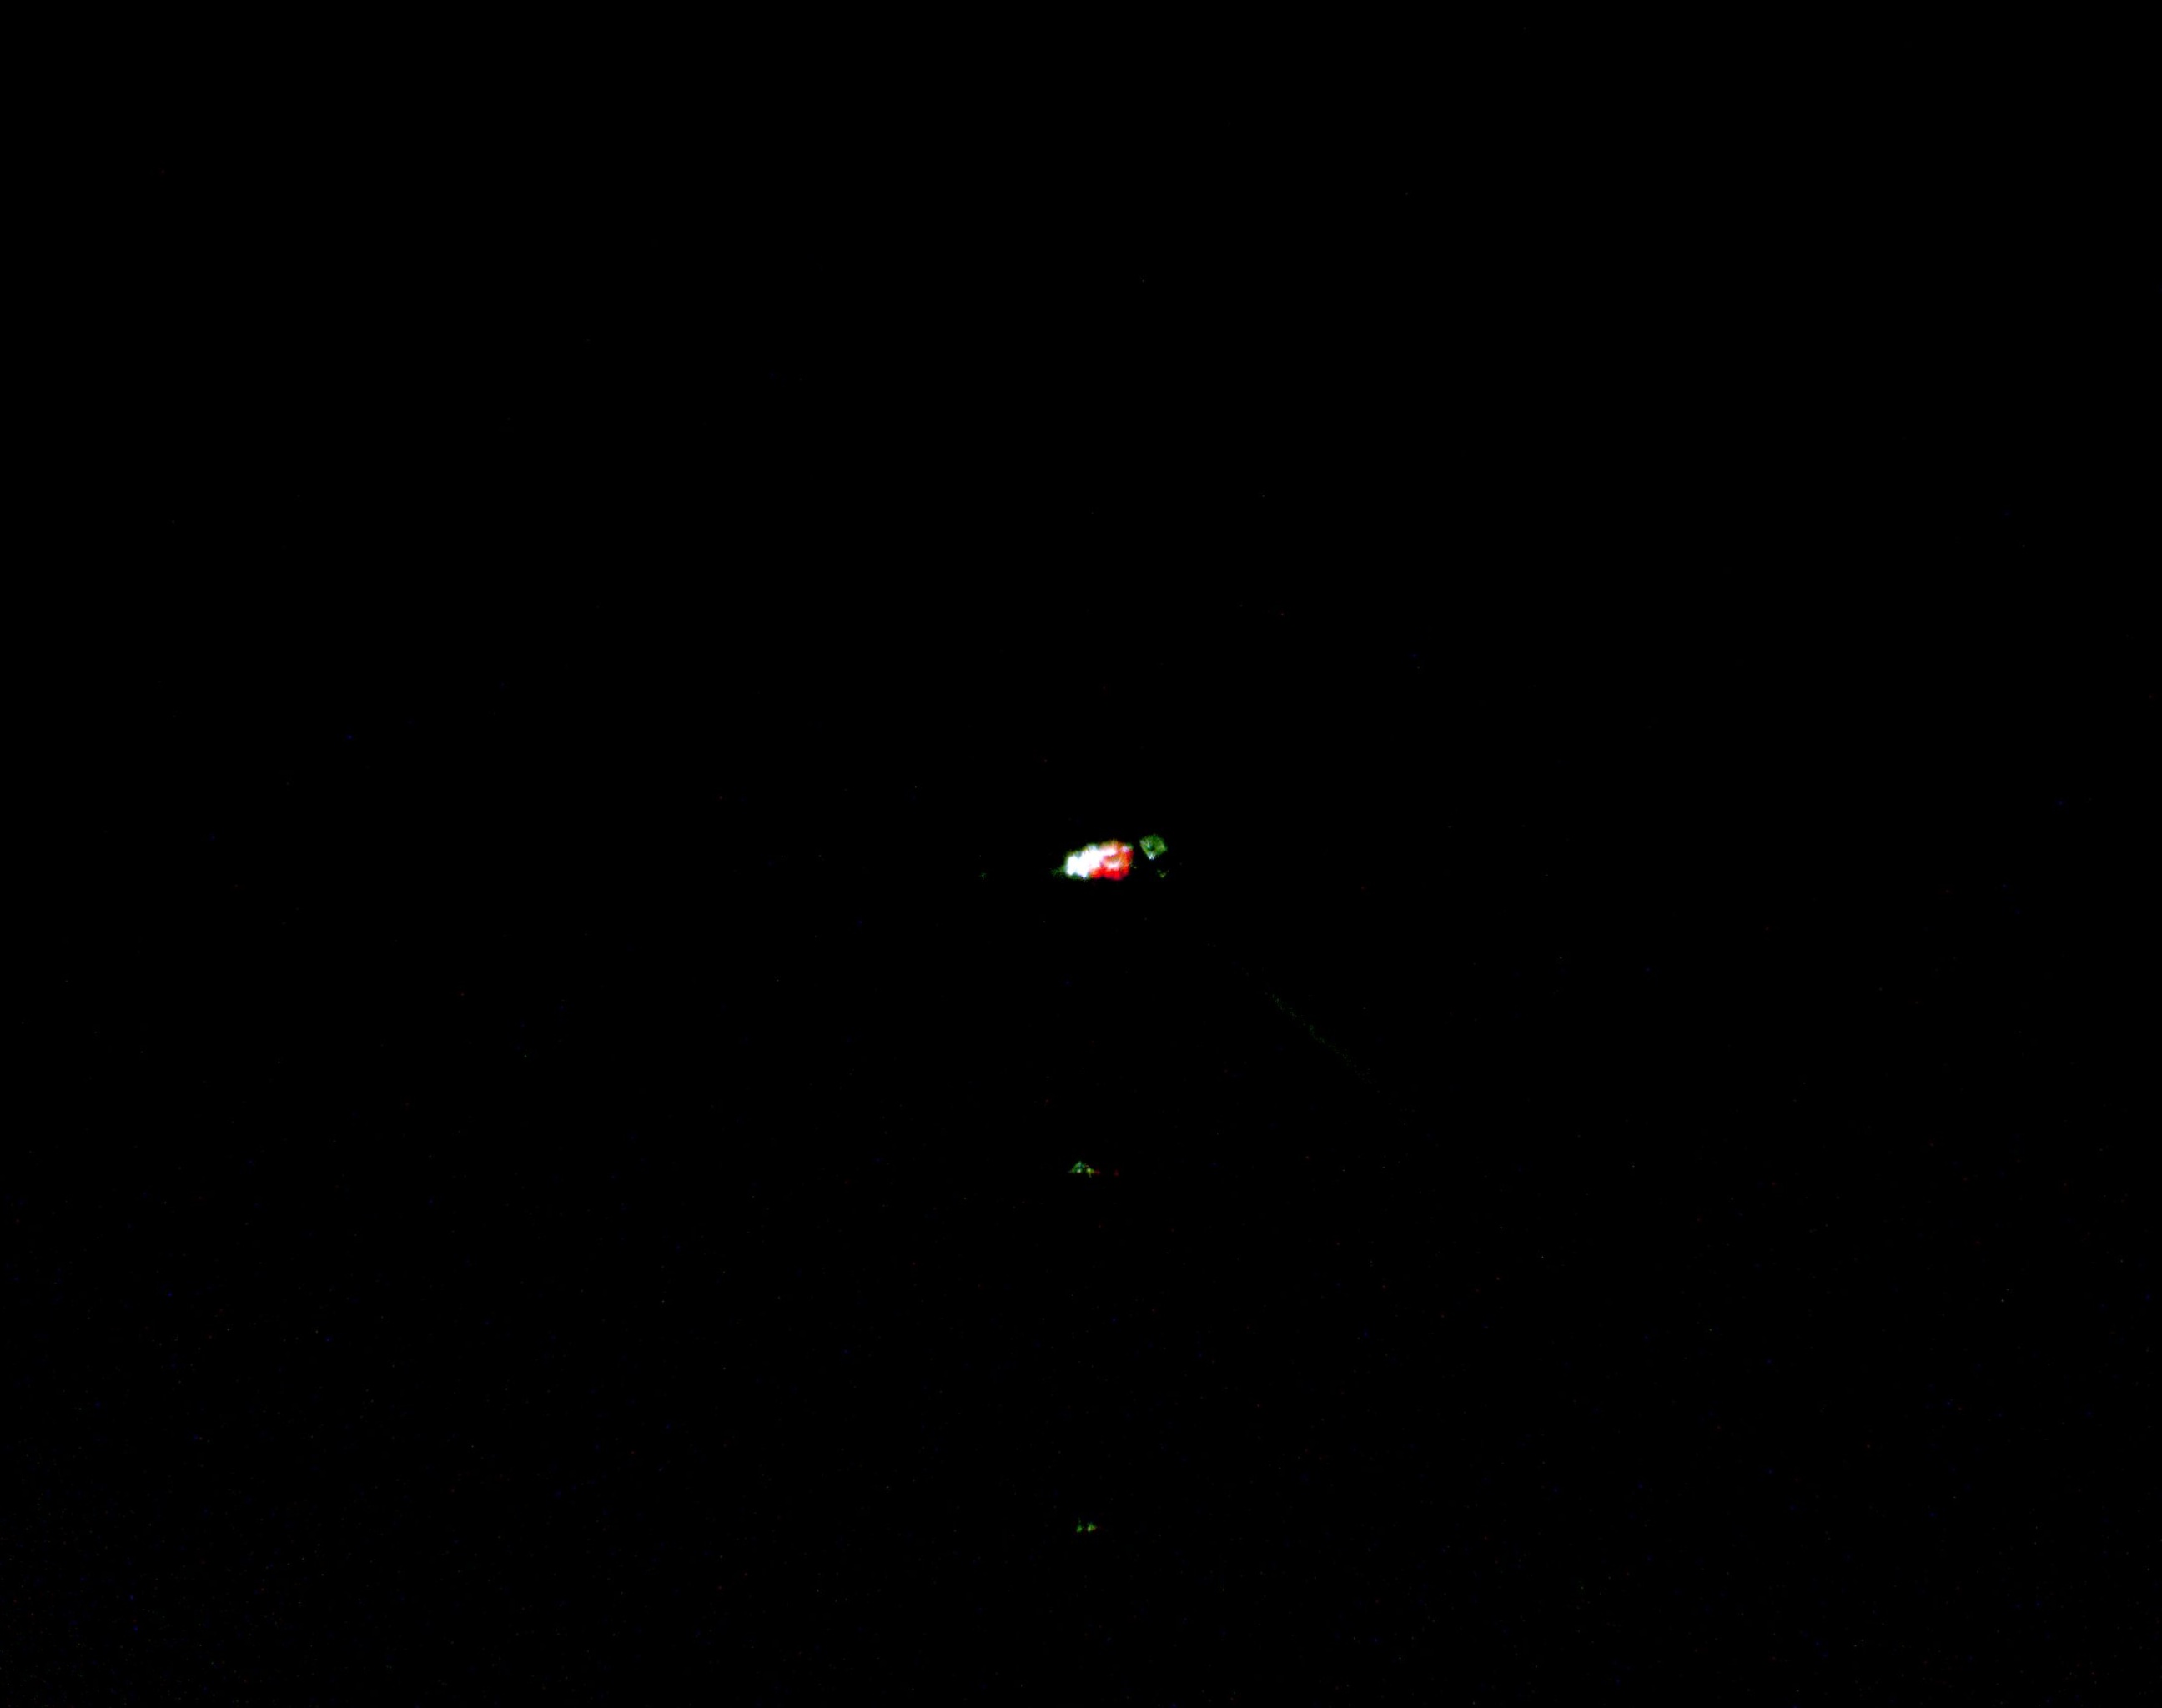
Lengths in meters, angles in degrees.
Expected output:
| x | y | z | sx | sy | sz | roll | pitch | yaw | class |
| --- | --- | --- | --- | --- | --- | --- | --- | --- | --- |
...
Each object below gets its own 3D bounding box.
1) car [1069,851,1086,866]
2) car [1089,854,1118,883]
| x | y | z | sx | sy | sz | roll | pitch | yaw | class |
| --- | --- | --- | --- | --- | --- | --- | --- | --- | --- |
| -0.464 | 0.631 | 109.662 | 1.986 | 2.014 | 4.002 | -1 | -1 | 2 | car |
| 1.432 | 0.935 | 53.334 | 1.836 | 1.740 | 4.001 | 0 | 1 | 1 | car |
